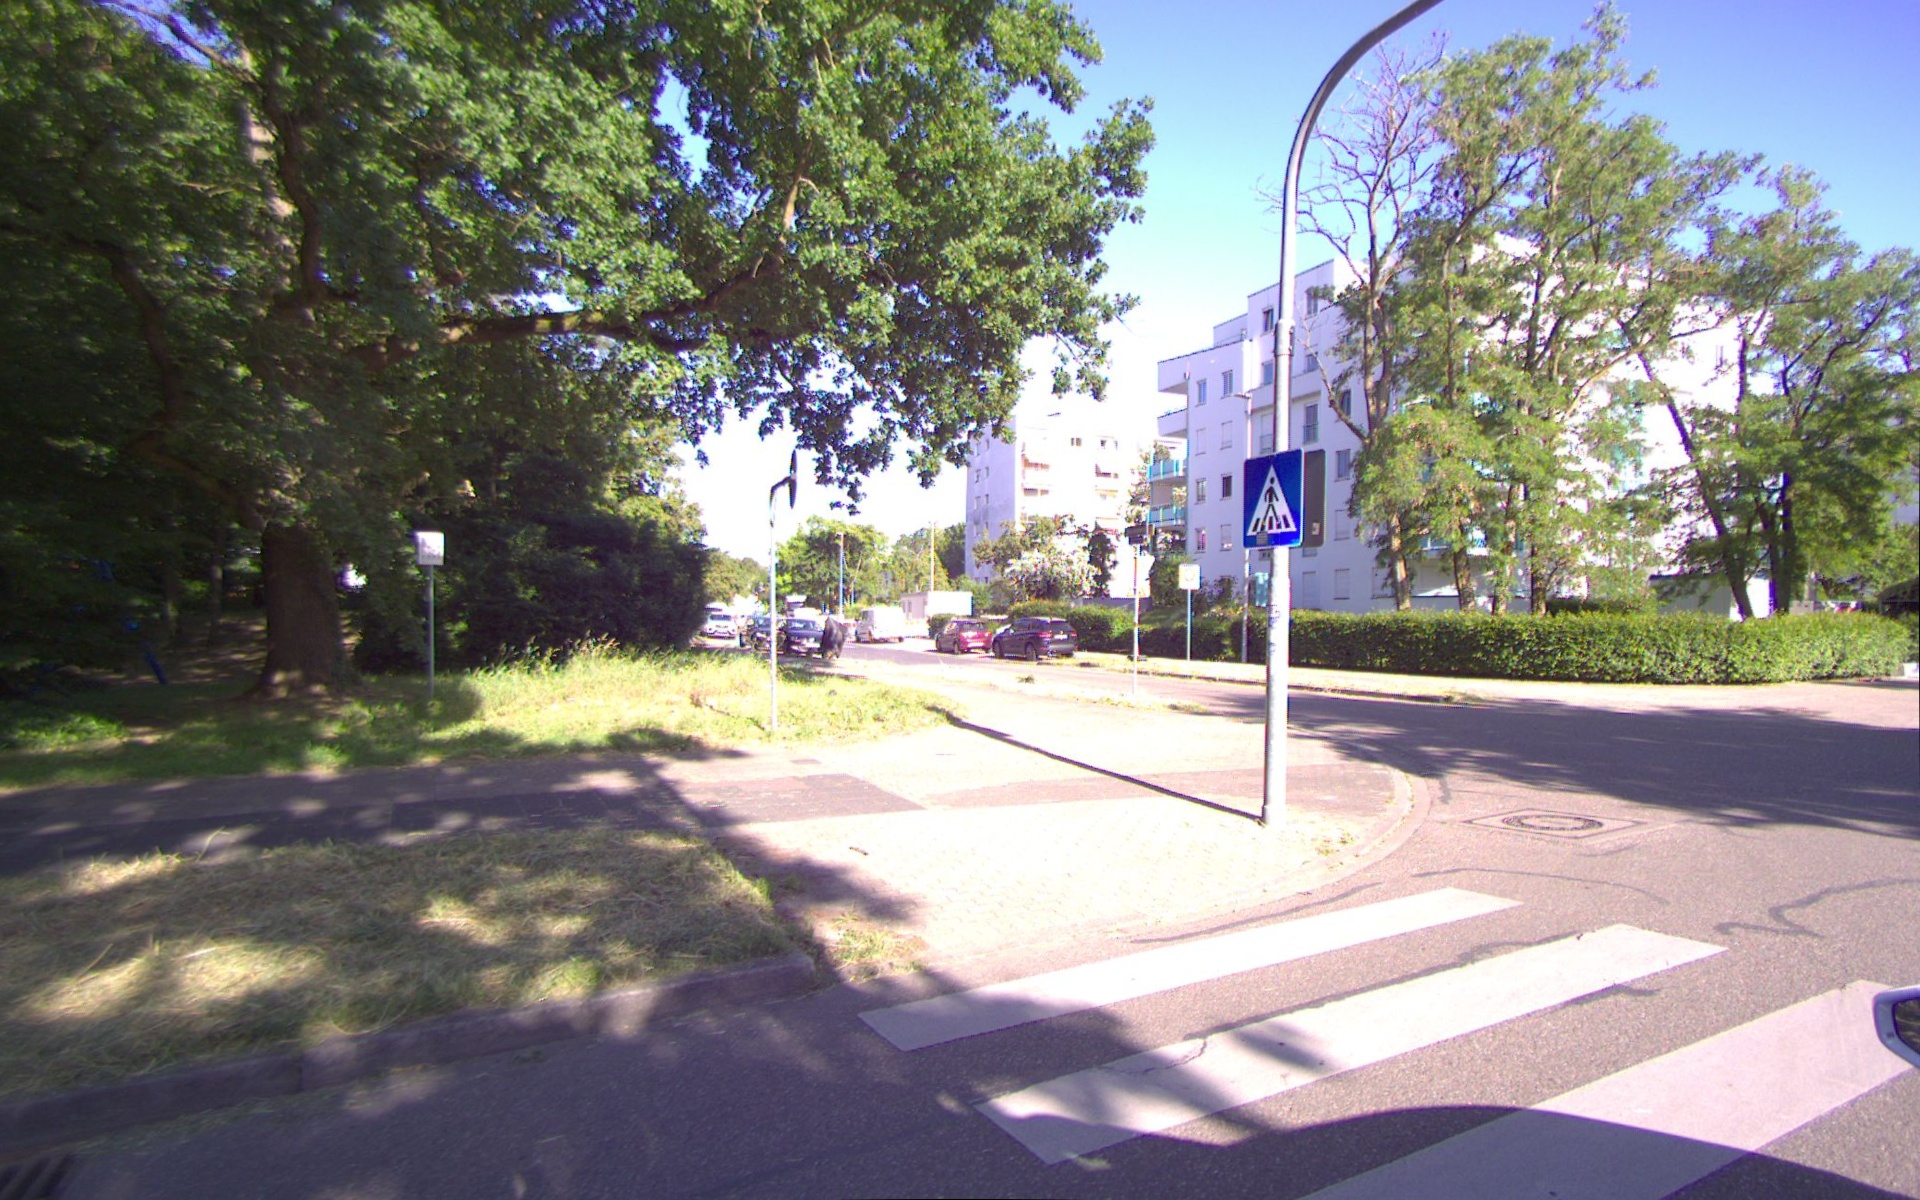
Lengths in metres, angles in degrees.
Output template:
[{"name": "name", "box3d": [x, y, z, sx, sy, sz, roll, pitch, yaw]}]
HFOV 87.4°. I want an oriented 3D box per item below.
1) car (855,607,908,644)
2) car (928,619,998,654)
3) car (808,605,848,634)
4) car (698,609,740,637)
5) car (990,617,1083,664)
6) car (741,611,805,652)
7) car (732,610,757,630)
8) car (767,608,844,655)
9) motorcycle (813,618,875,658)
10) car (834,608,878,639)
[{"name": "car", "box3d": [-4.583, 1.428, 57.723, 1.969, 1.983, 4.455, -1, 0, -19]}, {"name": "car", "box3d": [0.086, 1.582, 44.672, 1.784, 1.442, 3.979, 0, -1, -22]}, {"name": "car", "box3d": [-9.652, 1.411, 73.114, 1.969, 1.983, 4.455, -1, 0, -19]}, {"name": "car", "box3d": [-14.807, 1.372, 61.559, 1.971, 1.639, 3.979, 1, 0, -22]}, {"name": "car", "box3d": [2.866, 1.493, 38.315, 1.985, 1.634, 3.979, 1, 0, -22]}, {"name": "car", "box3d": [-8.168, 1.326, 43.595, 1.971, 1.639, 3.979, 1, 0, -22]}, {"name": "car", "box3d": [-21.927, 2.000, 102.277, 1.969, 1.983, 4.455, -1, 0, -19]}, {"name": "car", "box3d": [-5.817, 1.142, 37.422, 1.971, 1.639, 3.979, 1, 0, -22]}, {"name": "motorcycle", "box3d": [-3.974, 1.287, 34.676, 1.126, 1.270, 2.564, 1, 0, 20]}, {"name": "car", "box3d": [-7.057, 1.573, 67.829, 1.969, 1.983, 4.455, -1, 0, -19]}]
